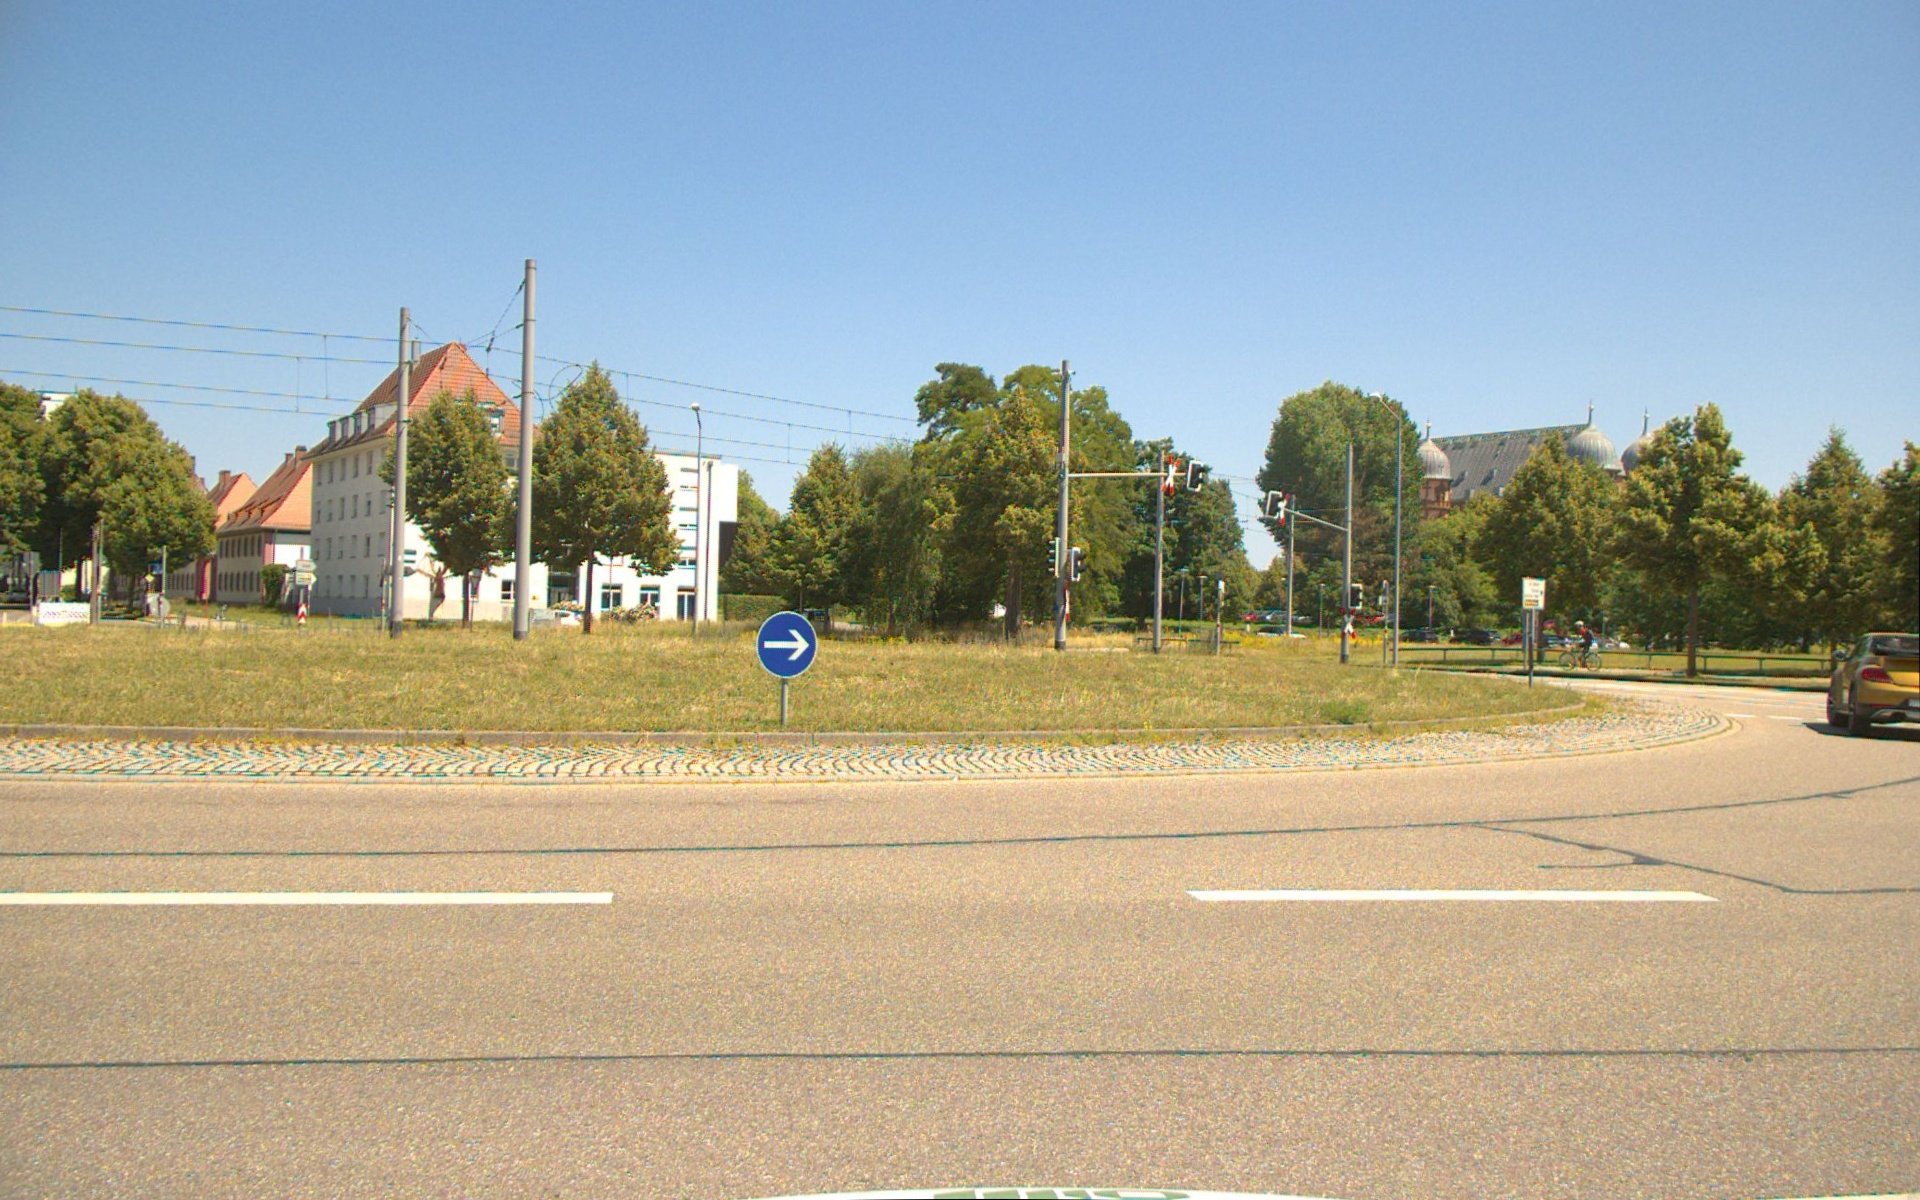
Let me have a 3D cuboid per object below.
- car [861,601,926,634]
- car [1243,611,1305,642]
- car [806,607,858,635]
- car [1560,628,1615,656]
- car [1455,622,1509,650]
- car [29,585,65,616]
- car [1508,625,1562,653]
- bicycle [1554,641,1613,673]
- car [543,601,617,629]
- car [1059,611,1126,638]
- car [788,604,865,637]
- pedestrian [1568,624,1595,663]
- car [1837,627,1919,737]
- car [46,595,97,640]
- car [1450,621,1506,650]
[{"bbox_3d":[-4.529,1.199,112.467,3.903,2.049,2.001,2,-2,17],"label":"car"},{"bbox_3d":[22.373,1.899,117.849,3.907,2.049,1.999,2,-2,24],"label":"car"},{"bbox_3d":[-10.295,1.701,133.312,3.905,2.049,2.000,3,-2,0],"label":"car"},{"bbox_3d":[51.973,3.480,136.986,3.915,2.049,1.995,2,-2,32],"label":"car"},{"bbox_3d":[42.141,2.930,133.565,3.907,2.049,1.999,2,-2,24],"label":"car"},{"bbox_3d":[-63.712,0.053,115.414,1.970,2.049,3.964,3,-2,-27],"label":"car"},{"bbox_3d":[46.580,3.153,134.050,3.907,2.049,1.999,2,-2,24],"label":"car"},{"bbox_3d":[24.356,2.215,64.583,2.016,1.134,0.727,2,-2,34],"label":"bicycle"},{"bbox_3d":[-22.056,0.856,96.057,3.842,1.445,1.701,3,-2,-28],"label":"car"},{"bbox_3d":[8.607,1.602,107.661,3.905,1.601,2.000,2,-2,21],"label":"car"},{"bbox_3d":[-7.677,1.169,95.357,3.940,1.713,1.982,3,-2,-28],"label":"car"},{"bbox_3d":[24.305,1.685,64.656,0.801,1.476,0.707,1,-2,34],"label":"pedestrian"},{"bbox_3d":[13.664,1.154,23.519,1.789,1.427,3.659,2,-1,24],"label":"car"},{"bbox_3d":[-42.863,0.824,79.860,1.970,2.049,3.964,3,-2,-27],"label":"car"},{"bbox_3d":[40.264,2.723,128.634,3.907,2.049,1.999,2,-2,24],"label":"car"}]
